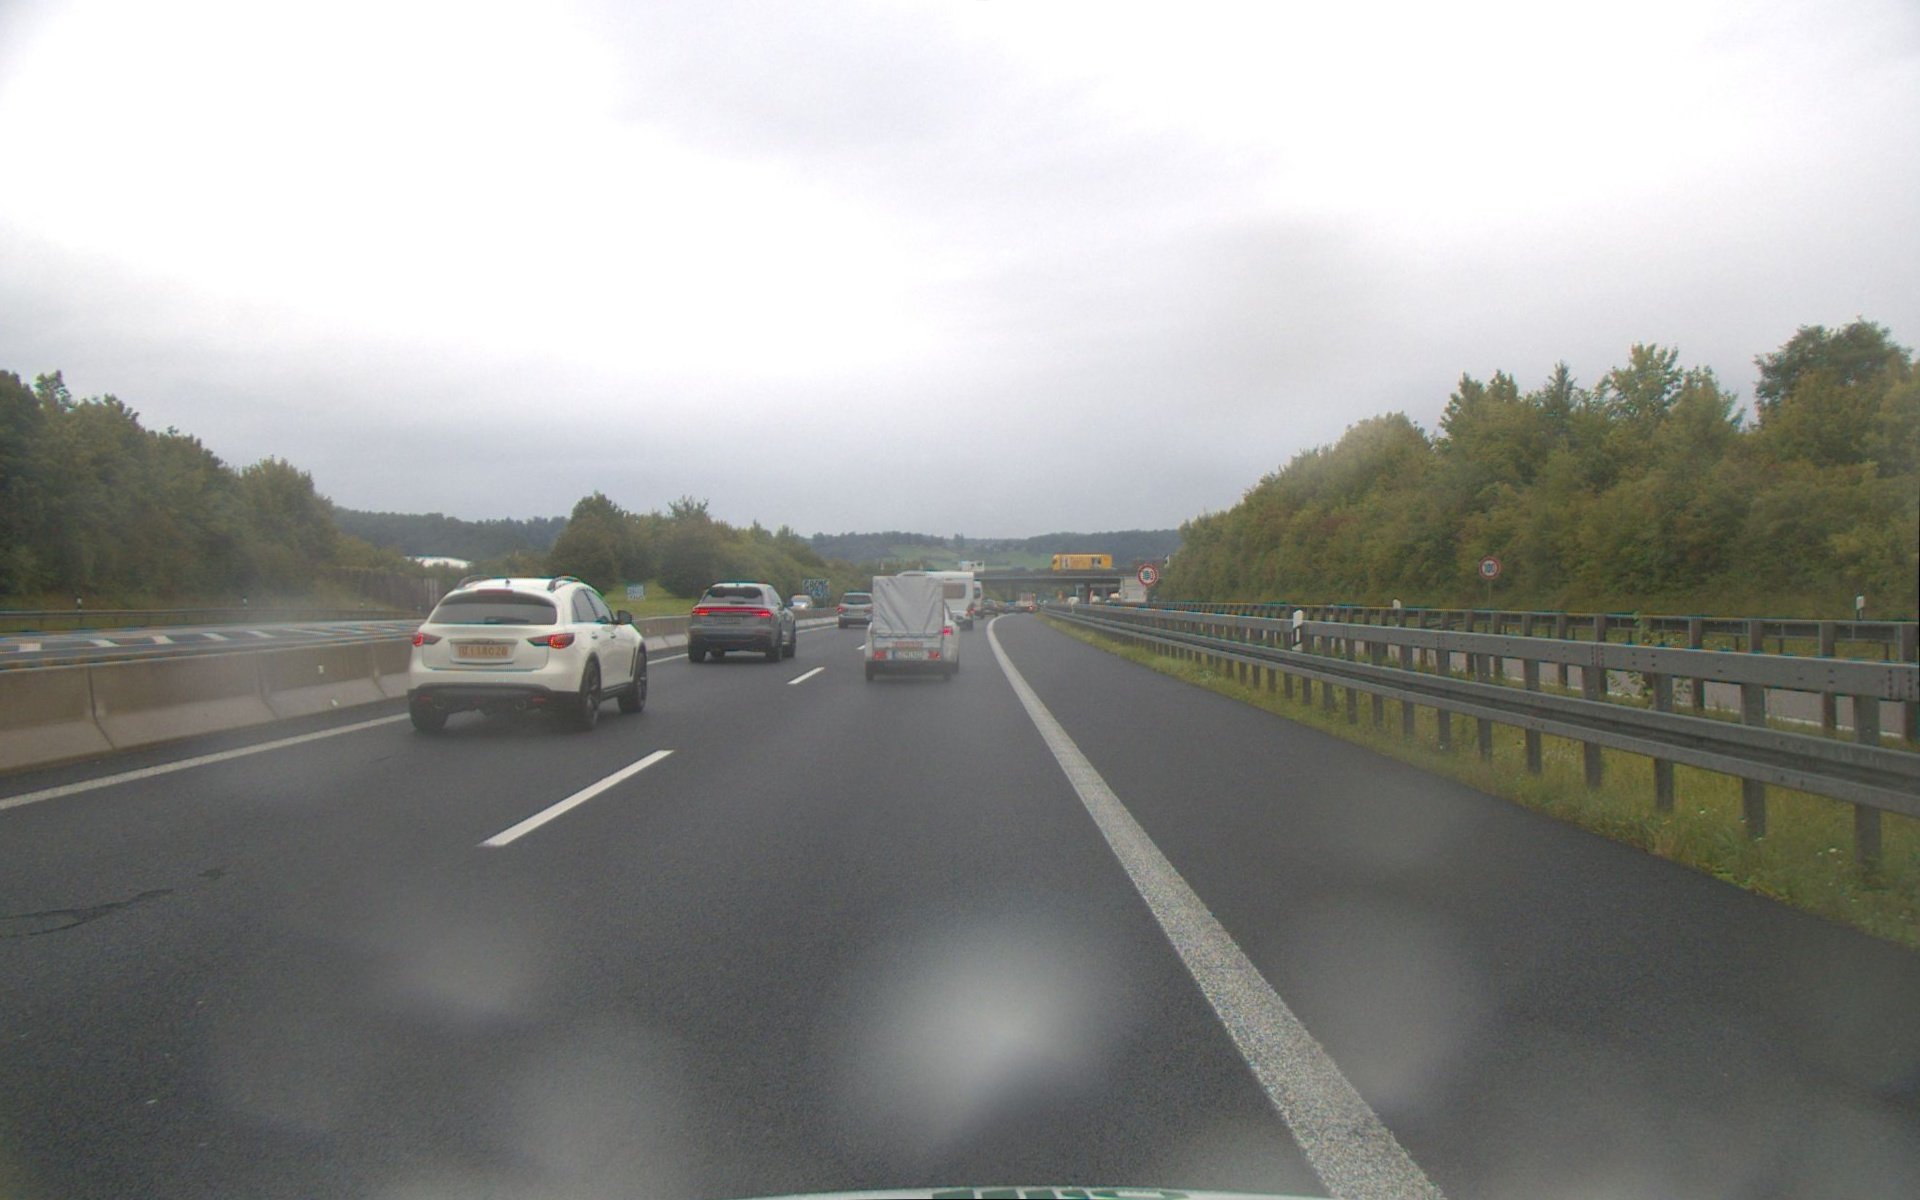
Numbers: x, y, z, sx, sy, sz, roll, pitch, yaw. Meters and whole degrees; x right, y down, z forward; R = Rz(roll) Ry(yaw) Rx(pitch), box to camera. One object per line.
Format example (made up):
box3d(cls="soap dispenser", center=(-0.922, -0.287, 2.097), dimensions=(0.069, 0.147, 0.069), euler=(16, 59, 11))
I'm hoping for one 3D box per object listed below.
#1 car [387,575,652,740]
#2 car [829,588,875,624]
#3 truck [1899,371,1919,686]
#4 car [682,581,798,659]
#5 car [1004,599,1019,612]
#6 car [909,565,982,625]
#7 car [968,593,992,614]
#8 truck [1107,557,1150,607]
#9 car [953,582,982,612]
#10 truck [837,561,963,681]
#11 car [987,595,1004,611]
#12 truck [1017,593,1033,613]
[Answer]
box3d(cls="car", center=(-4.890, 0.584, 19.039), dimensions=(1.936, 1.668, 4.499), euler=(0, 0, -1))
box3d(cls="car", center=(-4.988, 0.270, 76.696), dimensions=(1.861, 1.641, 4.017), euler=(0, 0, 0))
box3d(cls="truck", center=(15.008, -0.966, 18.189), dimensions=(3.367, 4.364, 10.416), euler=(0, 0, -1))
box3d(cls="car", center=(-4.903, 0.418, 37.496), dimensions=(2.130, 1.660, 4.499), euler=(0, 0, -1))
box3d(cls="car", center=(7.220, 0.735, 232.712), dimensions=(1.952, 1.780, 4.002), euler=(1, 0, 3))
box3d(cls="car", center=(-0.605, -0.245, 76.063), dimensions=(2.953, 2.662, 6.077), euler=(0, 0, 3))
box3d(cls="car", center=(1.705, 0.311, 142.754), dimensions=(1.953, 1.780, 3.999), euler=(1, 0, -2))
box3d(cls="truck", center=(18.239, -1.930, 179.415), dimensions=(4.008, 5.193, 10.466), euler=(0, 0, 2))
box3d(cls="car", center=(0.526, -0.197, 119.680), dimensions=(1.953, 2.071, 4.150), euler=(1, 0, -2))
box3d(cls="truck", center=(-1.008, 0.334, 31.593), dimensions=(1.977, 2.020, 7.214), euler=(0, 0, 1))
box3d(cls="car", center=(4.253, 0.345, 197.112), dimensions=(1.952, 1.780, 4.001), euler=(1, 0, 2))
box3d(cls="truck", center=(10.091, 0.458, 256.907), dimensions=(2.230, 3.136, 7.249), euler=(1, 0, 3))
